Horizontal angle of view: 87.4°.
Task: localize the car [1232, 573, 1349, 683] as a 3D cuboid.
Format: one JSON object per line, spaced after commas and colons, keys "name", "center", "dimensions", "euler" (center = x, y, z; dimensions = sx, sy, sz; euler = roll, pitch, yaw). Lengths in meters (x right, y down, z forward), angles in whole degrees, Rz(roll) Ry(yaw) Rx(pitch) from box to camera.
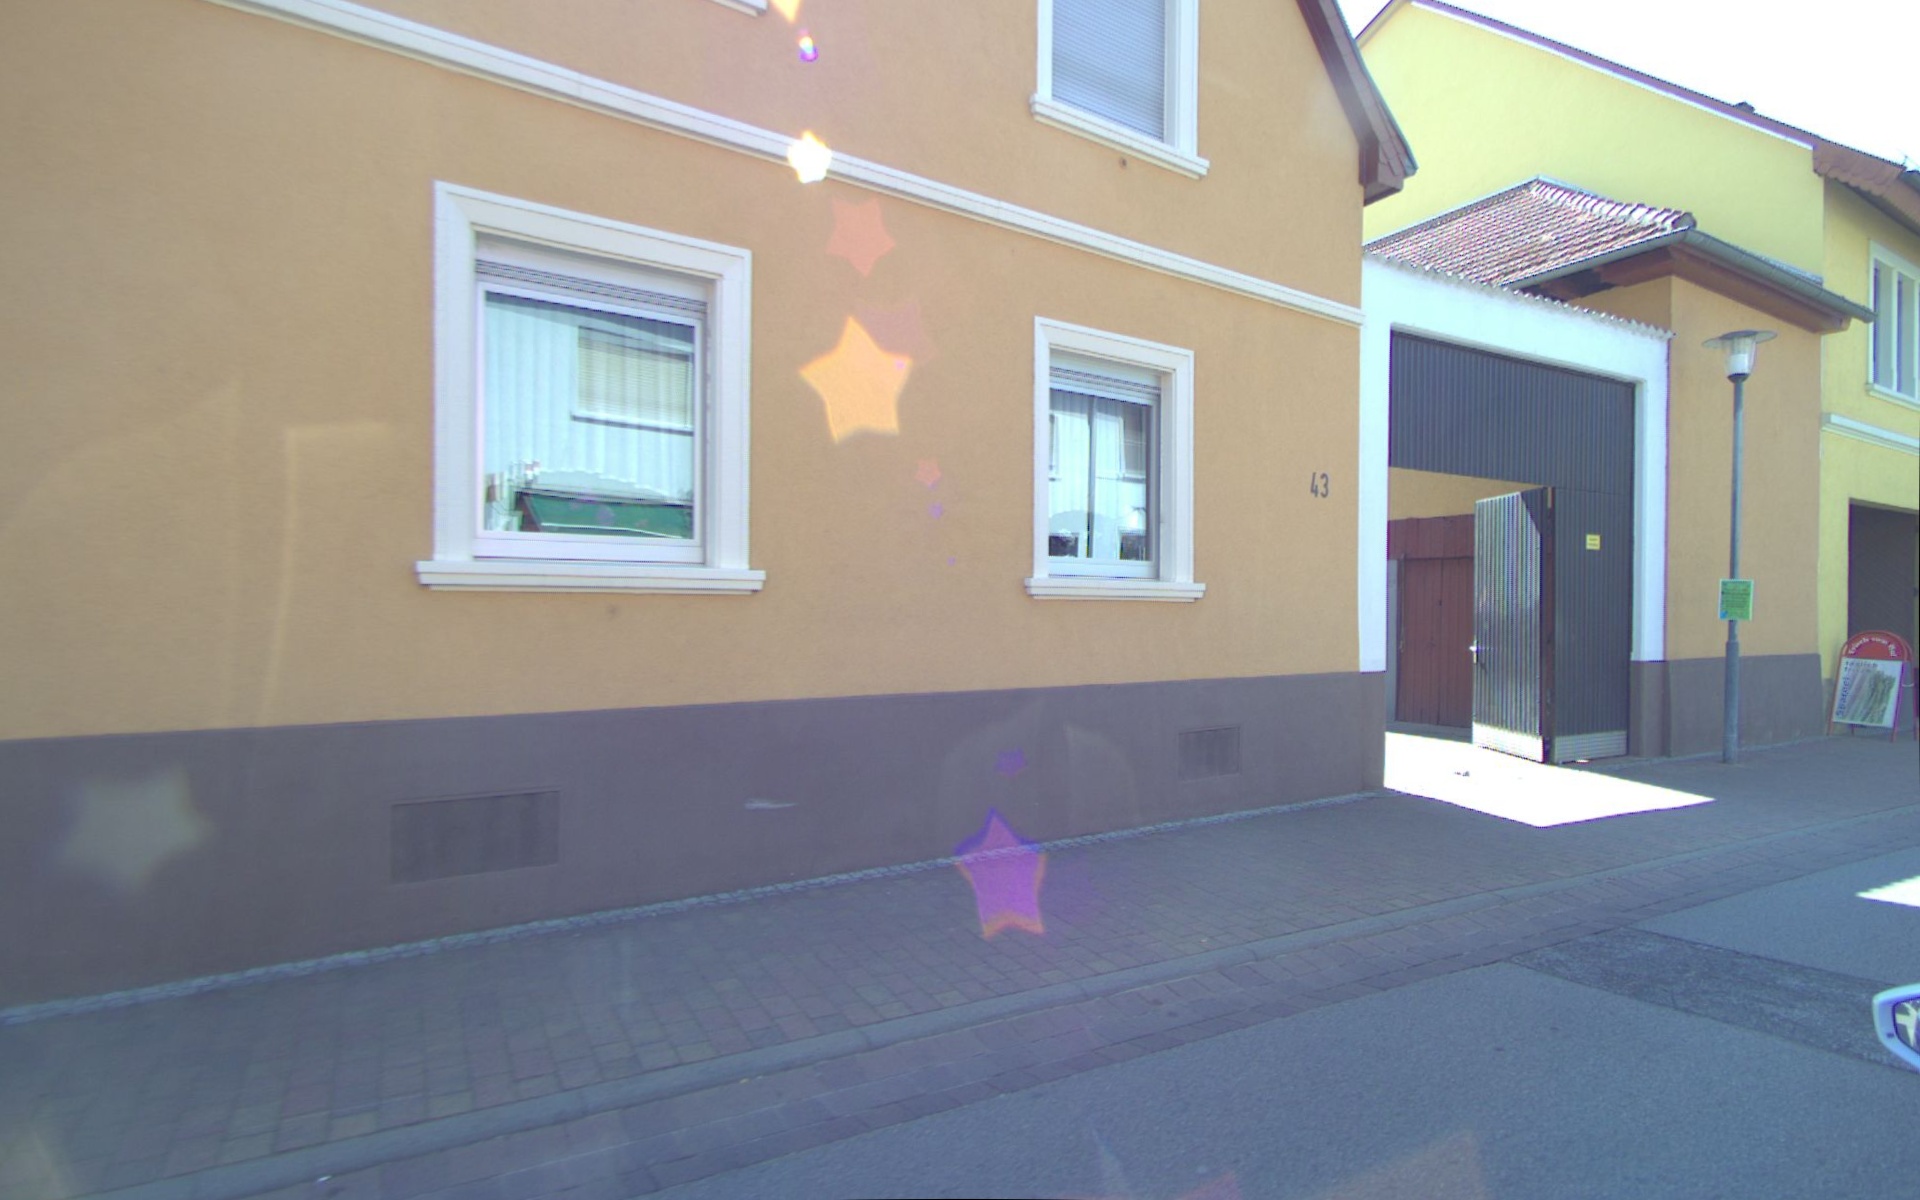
{"name": "car", "center": [5.742, 0.447, 17.314], "dimensions": [1.734, 1.683, 3.527], "euler": [0, -1, 20]}
